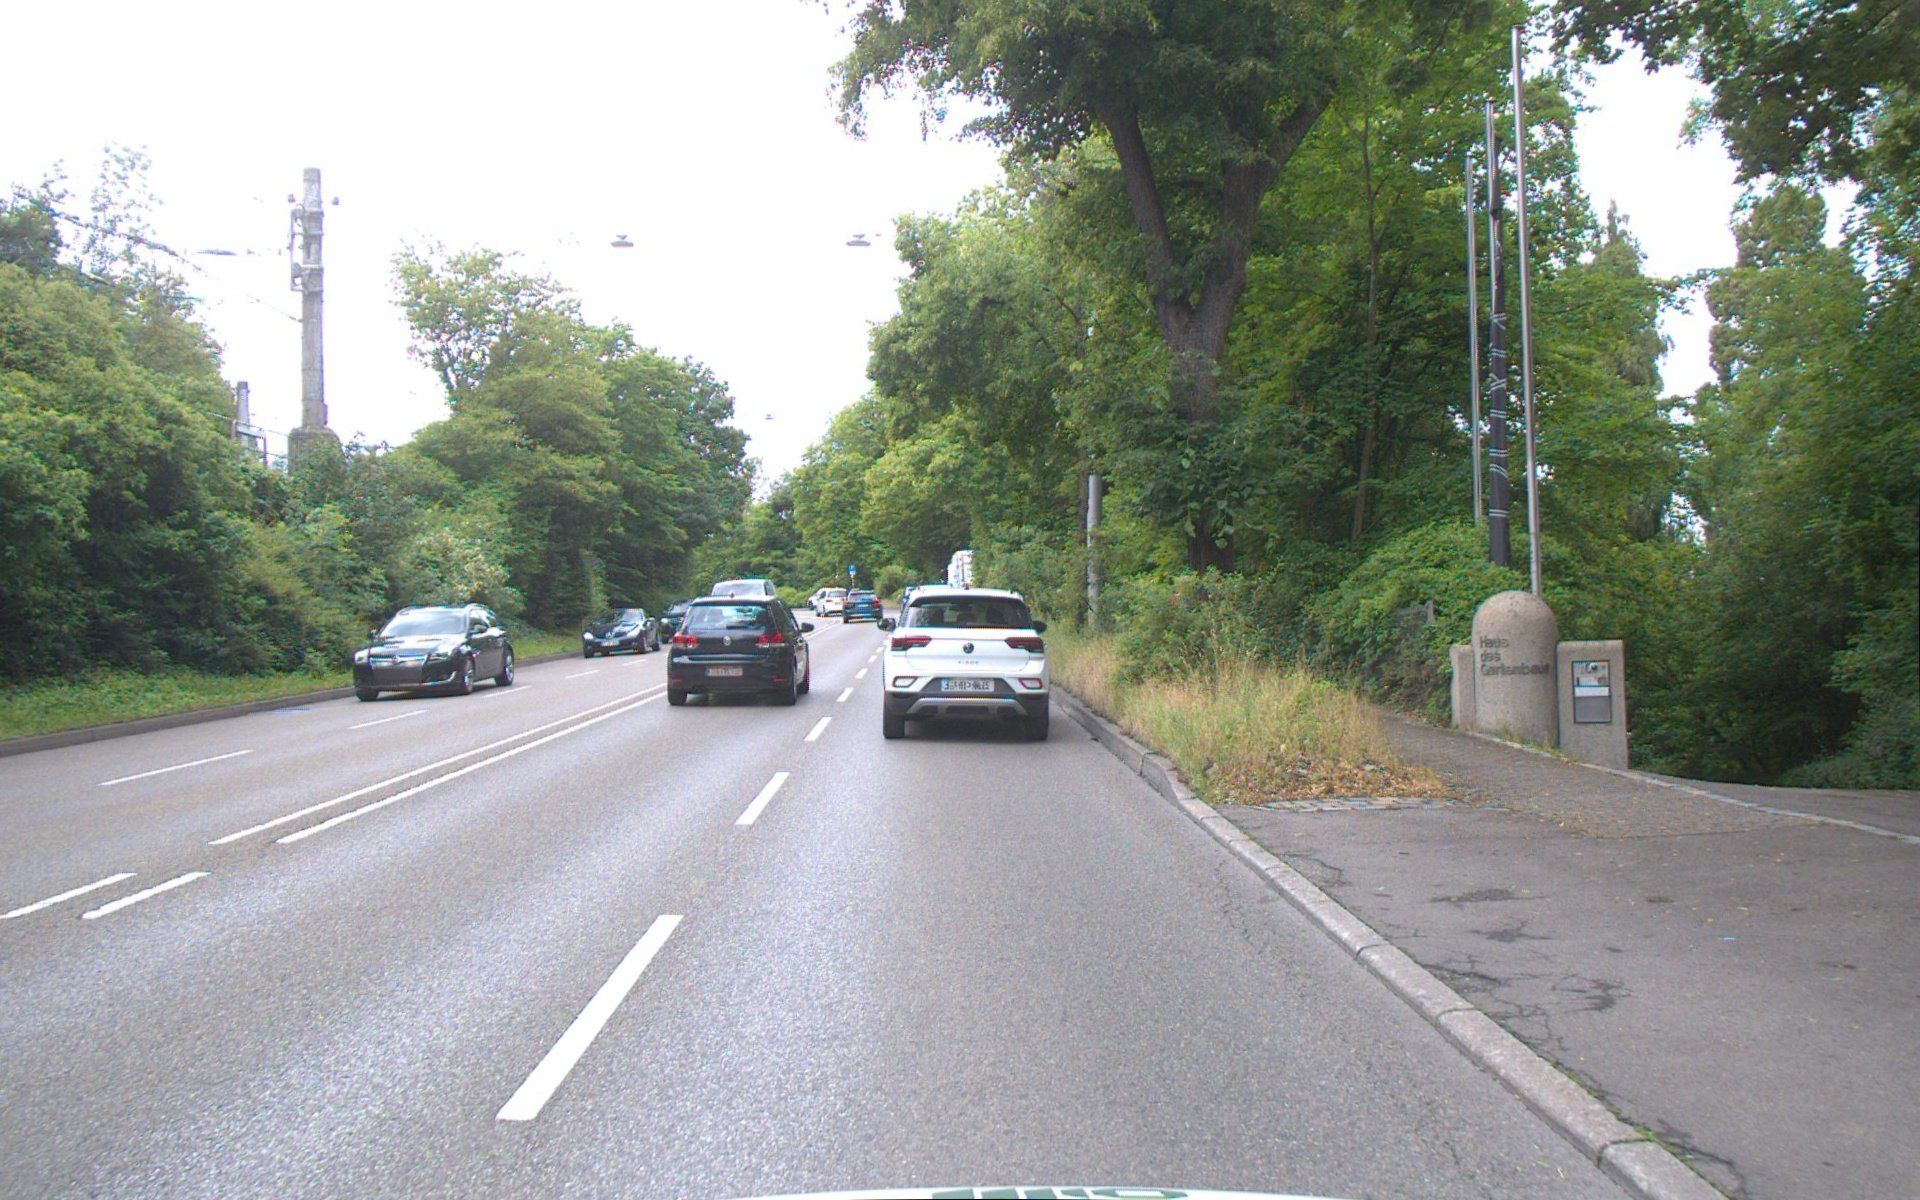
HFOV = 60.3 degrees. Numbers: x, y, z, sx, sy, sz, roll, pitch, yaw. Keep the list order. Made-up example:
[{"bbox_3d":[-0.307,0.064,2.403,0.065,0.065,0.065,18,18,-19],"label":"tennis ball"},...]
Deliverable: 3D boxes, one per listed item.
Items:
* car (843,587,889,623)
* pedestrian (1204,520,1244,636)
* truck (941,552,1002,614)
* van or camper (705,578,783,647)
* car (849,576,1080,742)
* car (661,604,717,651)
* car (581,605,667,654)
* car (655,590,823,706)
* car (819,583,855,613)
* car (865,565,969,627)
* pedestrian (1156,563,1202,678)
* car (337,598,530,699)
[{"bbox_3d":[-4.326,0.237,76.445,1.953,1.620,3.999,0,0,-1],"label":"car"},{"bbox_3d":[4.100,-0.339,25.706,0.509,1.784,0.524,0,0,-5],"label":"pedestrian"},{"bbox_3d":[0.560,-0.893,89.854,2.434,3.237,7.219,1,0,-6],"label":"truck"},{"bbox_3d":[-6.769,0.371,52.295,1.953,2.049,5.366,0,0,-2],"label":"van or camper"},{"bbox_3d":[-0.072,0.577,18.330,1.964,1.624,3.992,0,0,-9],"label":"car"},{"bbox_3d":[-9.803,0.969,60.057,1.445,1.624,3.999,0,0,-1],"label":"car"},{"bbox_3d":[-9.611,0.806,47.515,1.731,1.333,3.999,0,0,-2],"label":"car"},{"bbox_3d":[-3.018,0.615,23.389,1.910,1.492,3.999,0,0,-1],"label":"car"},{"bbox_3d":[-7.005,-0.119,94.468,1.785,1.651,3.999,0,0,-1],"label":"car"},{"bbox_3d":[-1.373,-0.134,50.796,1.826,1.732,3.972,-4,2,-22],"label":"car"},{"bbox_3d":[3.330,0.314,25.149,0.597,1.727,0.548,0,0,-4],"label":"pedestrian"},{"bbox_3d":[-8.935,0.769,28.486,1.875,1.493,4.528,-2,0,-1],"label":"car"}]
